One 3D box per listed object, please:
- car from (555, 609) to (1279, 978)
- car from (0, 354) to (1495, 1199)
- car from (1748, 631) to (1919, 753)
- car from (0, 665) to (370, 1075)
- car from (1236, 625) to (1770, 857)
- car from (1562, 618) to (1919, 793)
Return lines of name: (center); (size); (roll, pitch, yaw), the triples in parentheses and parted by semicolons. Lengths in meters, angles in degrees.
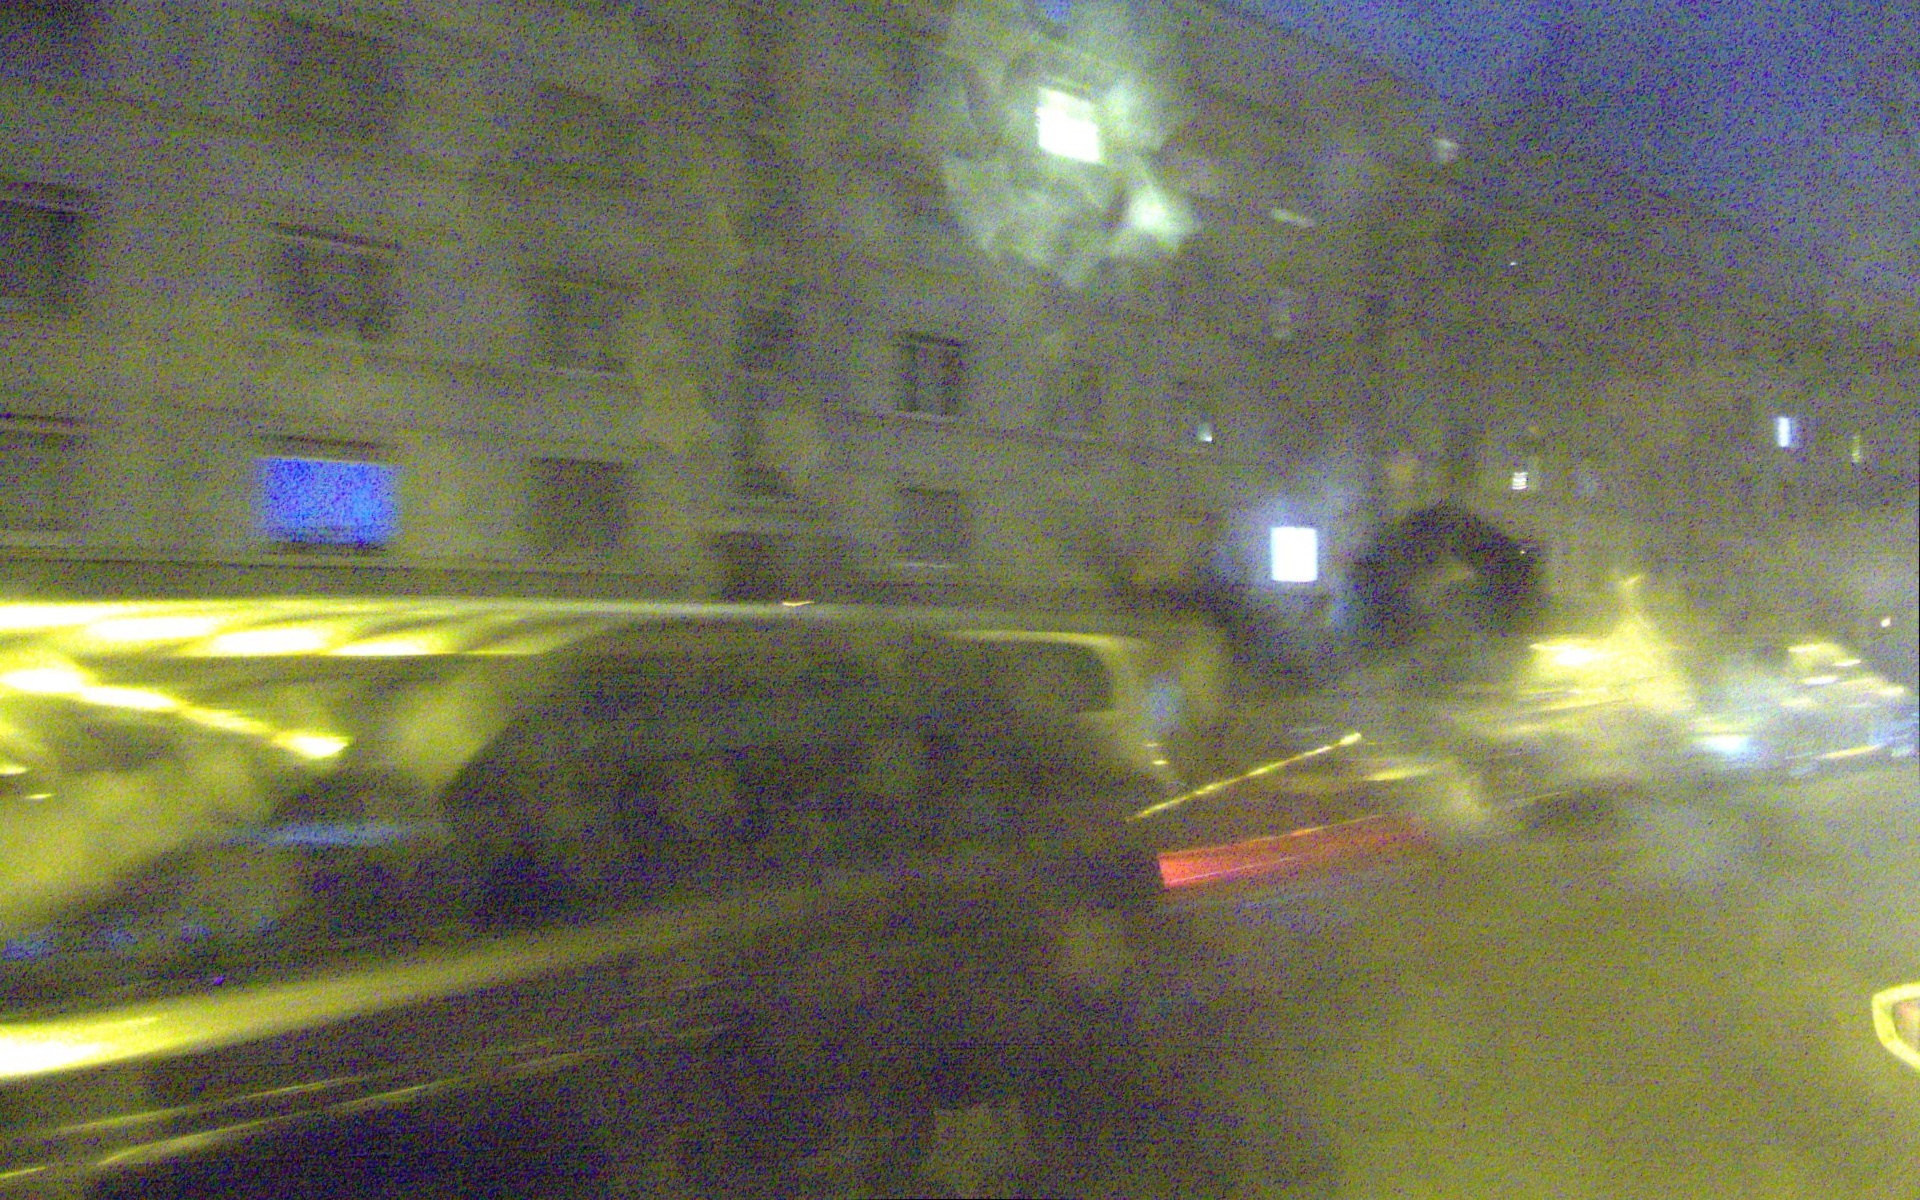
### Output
car: (-0.189, 0.881, 6.035); (4.009, 1.560, 1.699); (0, -3, -29)
car: (-1.059, 0.553, 2.067); (4.316, 1.560, 1.699); (0, -3, -29)
car: (13.675, 1.271, 14.949); (4.342, 1.560, 1.657); (0, -3, -32)
car: (-4.727, 0.937, 3.421); (4.579, 1.284, 1.832); (0, -3, -28)
car: (4.591, 0.980, 8.304); (4.618, 1.437, 1.613); (0, -3, -29)
car: (8.667, 1.021, 10.911); (4.337, 1.560, 1.659); (0, -3, -29)
